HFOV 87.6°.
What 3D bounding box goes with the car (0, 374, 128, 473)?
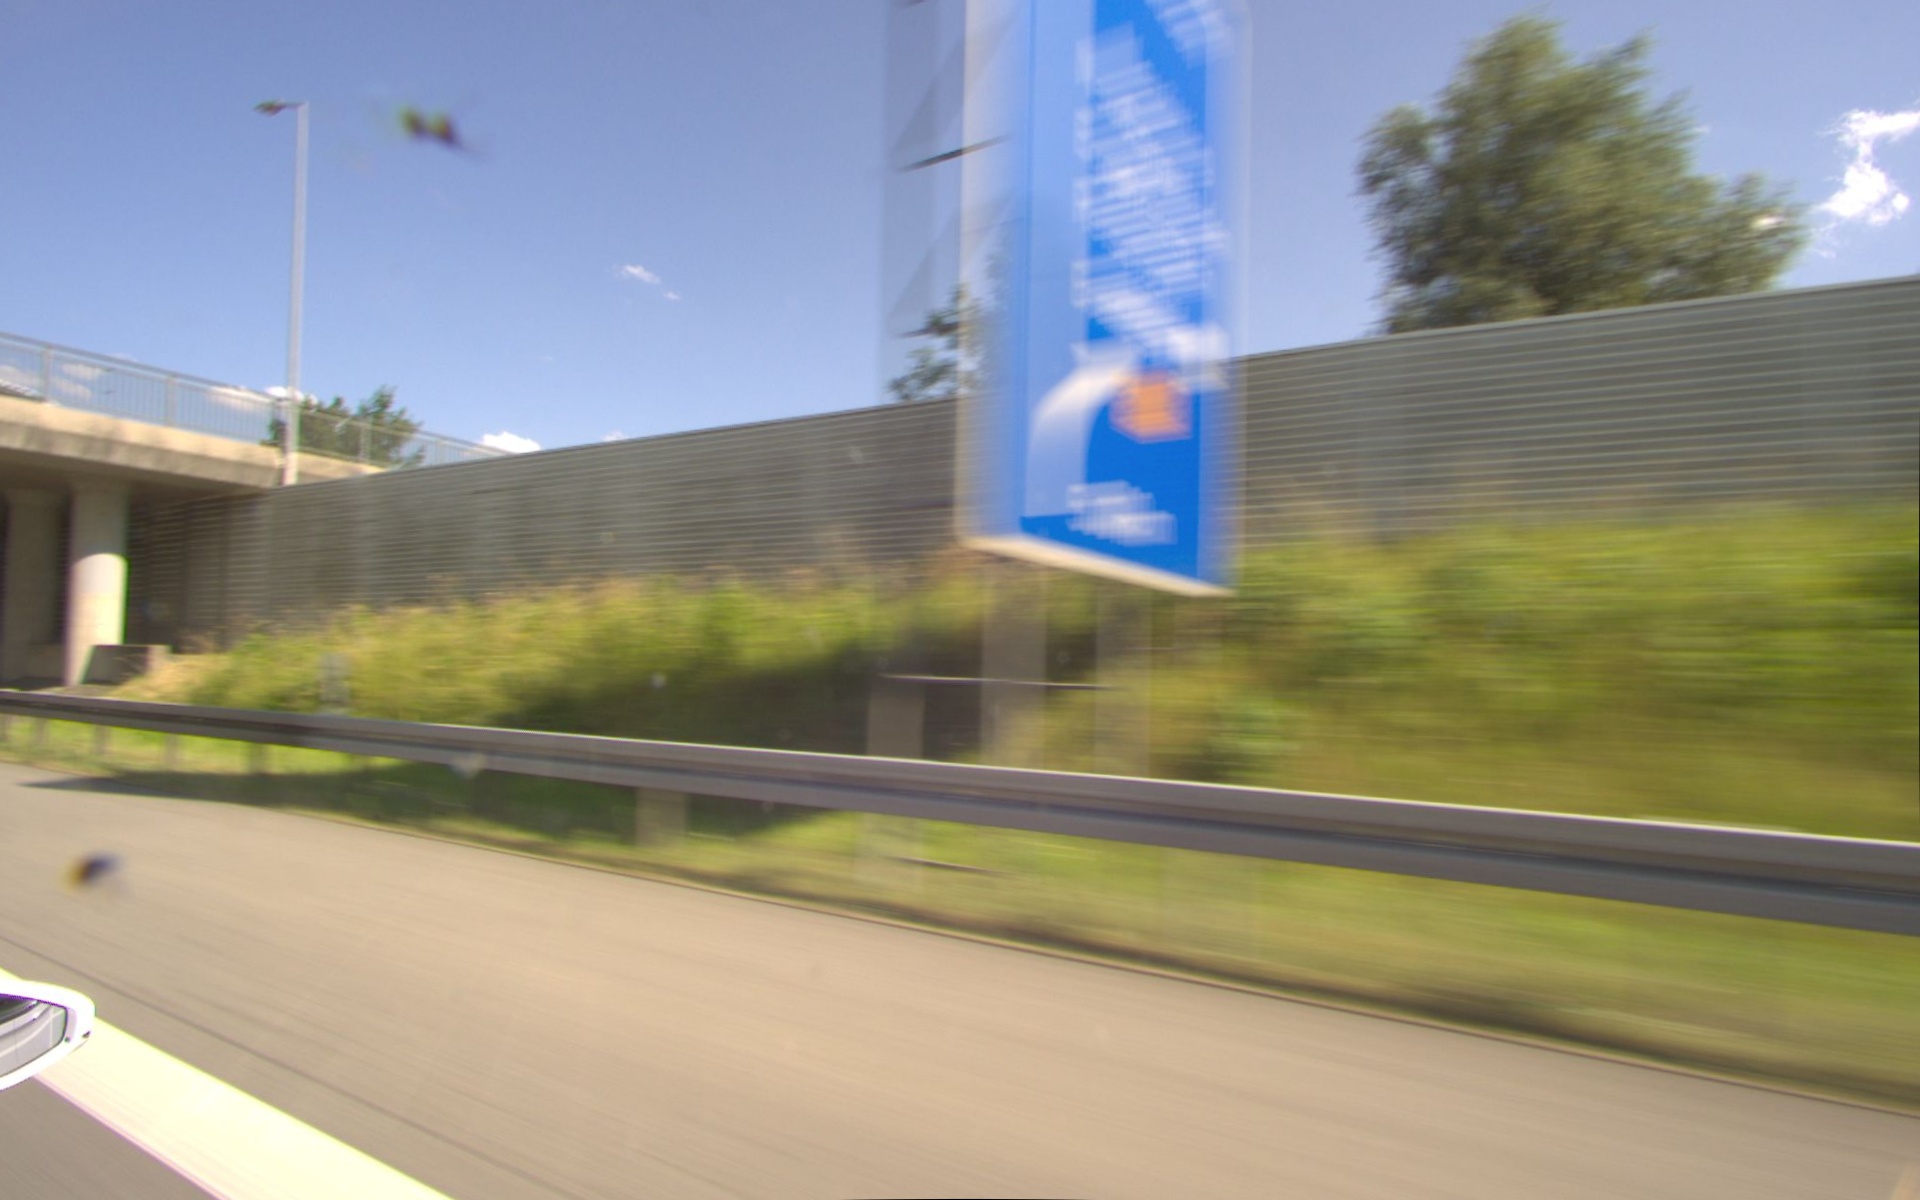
[{"bbox_3d":[-22.197,-4.196,22.922,1.970,1.616,4.400,-2,-5,30],"label":"car"}]
